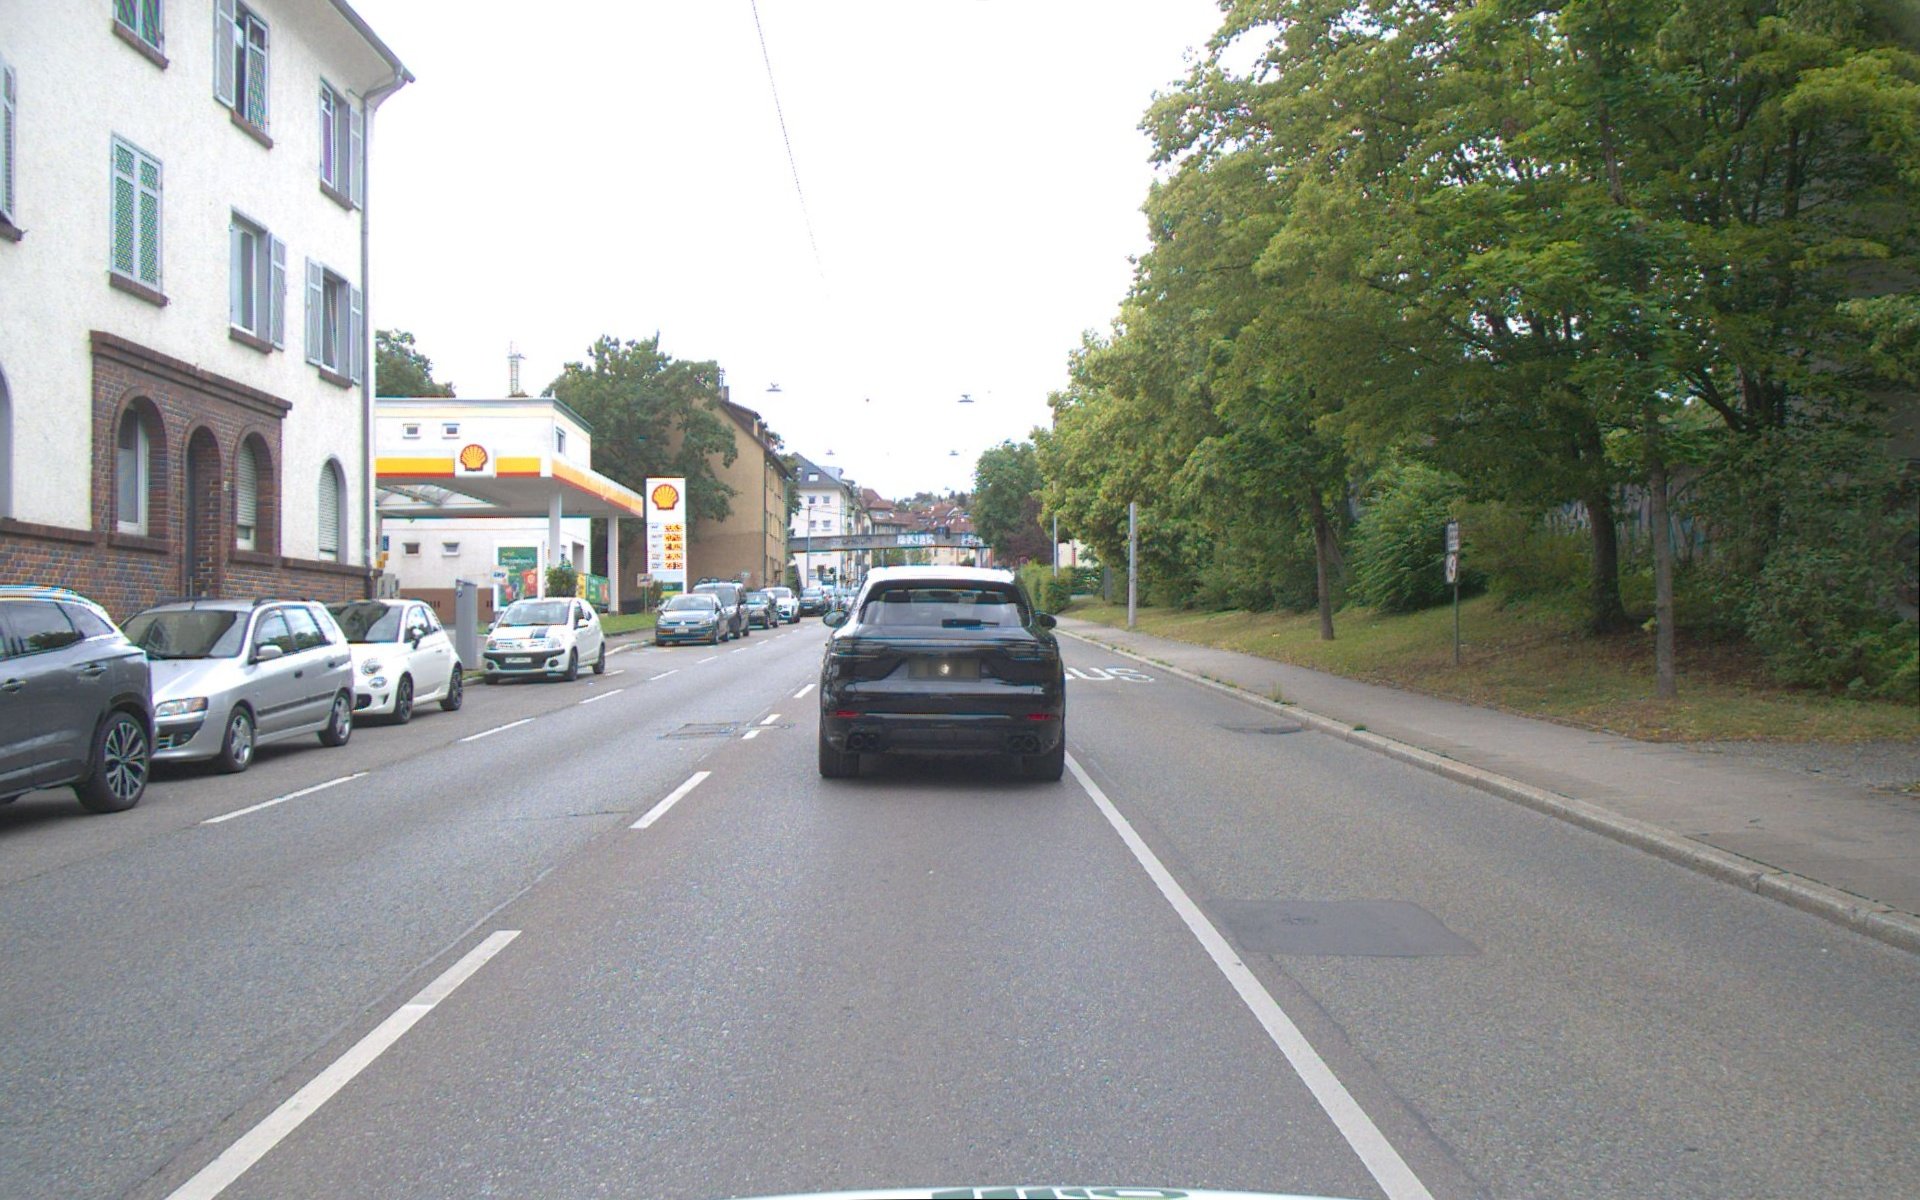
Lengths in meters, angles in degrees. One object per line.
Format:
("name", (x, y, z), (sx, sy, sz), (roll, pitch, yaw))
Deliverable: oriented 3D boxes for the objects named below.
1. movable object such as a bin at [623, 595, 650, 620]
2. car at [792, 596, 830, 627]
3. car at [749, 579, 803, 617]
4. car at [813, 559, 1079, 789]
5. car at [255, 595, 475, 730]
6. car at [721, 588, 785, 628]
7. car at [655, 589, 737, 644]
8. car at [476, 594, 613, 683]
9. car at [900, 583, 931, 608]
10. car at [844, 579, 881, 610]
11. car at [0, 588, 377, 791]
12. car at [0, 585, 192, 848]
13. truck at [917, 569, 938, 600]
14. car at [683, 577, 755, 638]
("movable object such as a bin", (-18.356, 0.421, 93.830), (1.365, 1.453, 0.912), (0, 0, -3))
("car", (-8.625, 0.657, 96.234), (1.746, 1.637, 4.264), (-3, 0, 0))
("car", (-8.244, -0.090, 74.462), (1.876, 1.605, 4.699), (-1, 0, 0))
("car", (-0.120, 0.507, 14.166), (1.953, 1.691, 4.000), (0, 1, -1))
("car", (-7.404, 0.715, 20.918), (1.516, 1.501, 3.603), (-1, 1, -1))
("car", (-8.131, 0.272, 65.316), (1.760, 1.456, 4.744), (-2, 1, 1))
("car", (-7.658, 0.444, 48.277), (1.754, 1.475, 4.217), (-2, 1, -1))
("car", (-7.516, 0.654, 30.232), (1.586, 1.450, 3.665), (-1, 1, -1))
("car", (-2.582, -0.268, 96.191), (1.706, 1.424, 4.000), (0, 1, -1))
("car", (-5.190, -0.308, 88.664), (1.761, 1.551, 3.999), (-2, 1, -1))
("car", (-7.114, 0.727, 15.764), (1.692, 1.585, 4.080), (-3, 0, -2))
("car", (-6.856, 0.751, 10.557), (1.691, 1.627, 4.502), (-1, 1, 1))
("truck", (-3.747, -1.743, 190.583), (2.221, 3.484, 9.876), (-1, 0, -1))
("car", (-7.815, 0.209, 53.952), (1.814, 1.867, 4.700), (-2, 1, -3))
